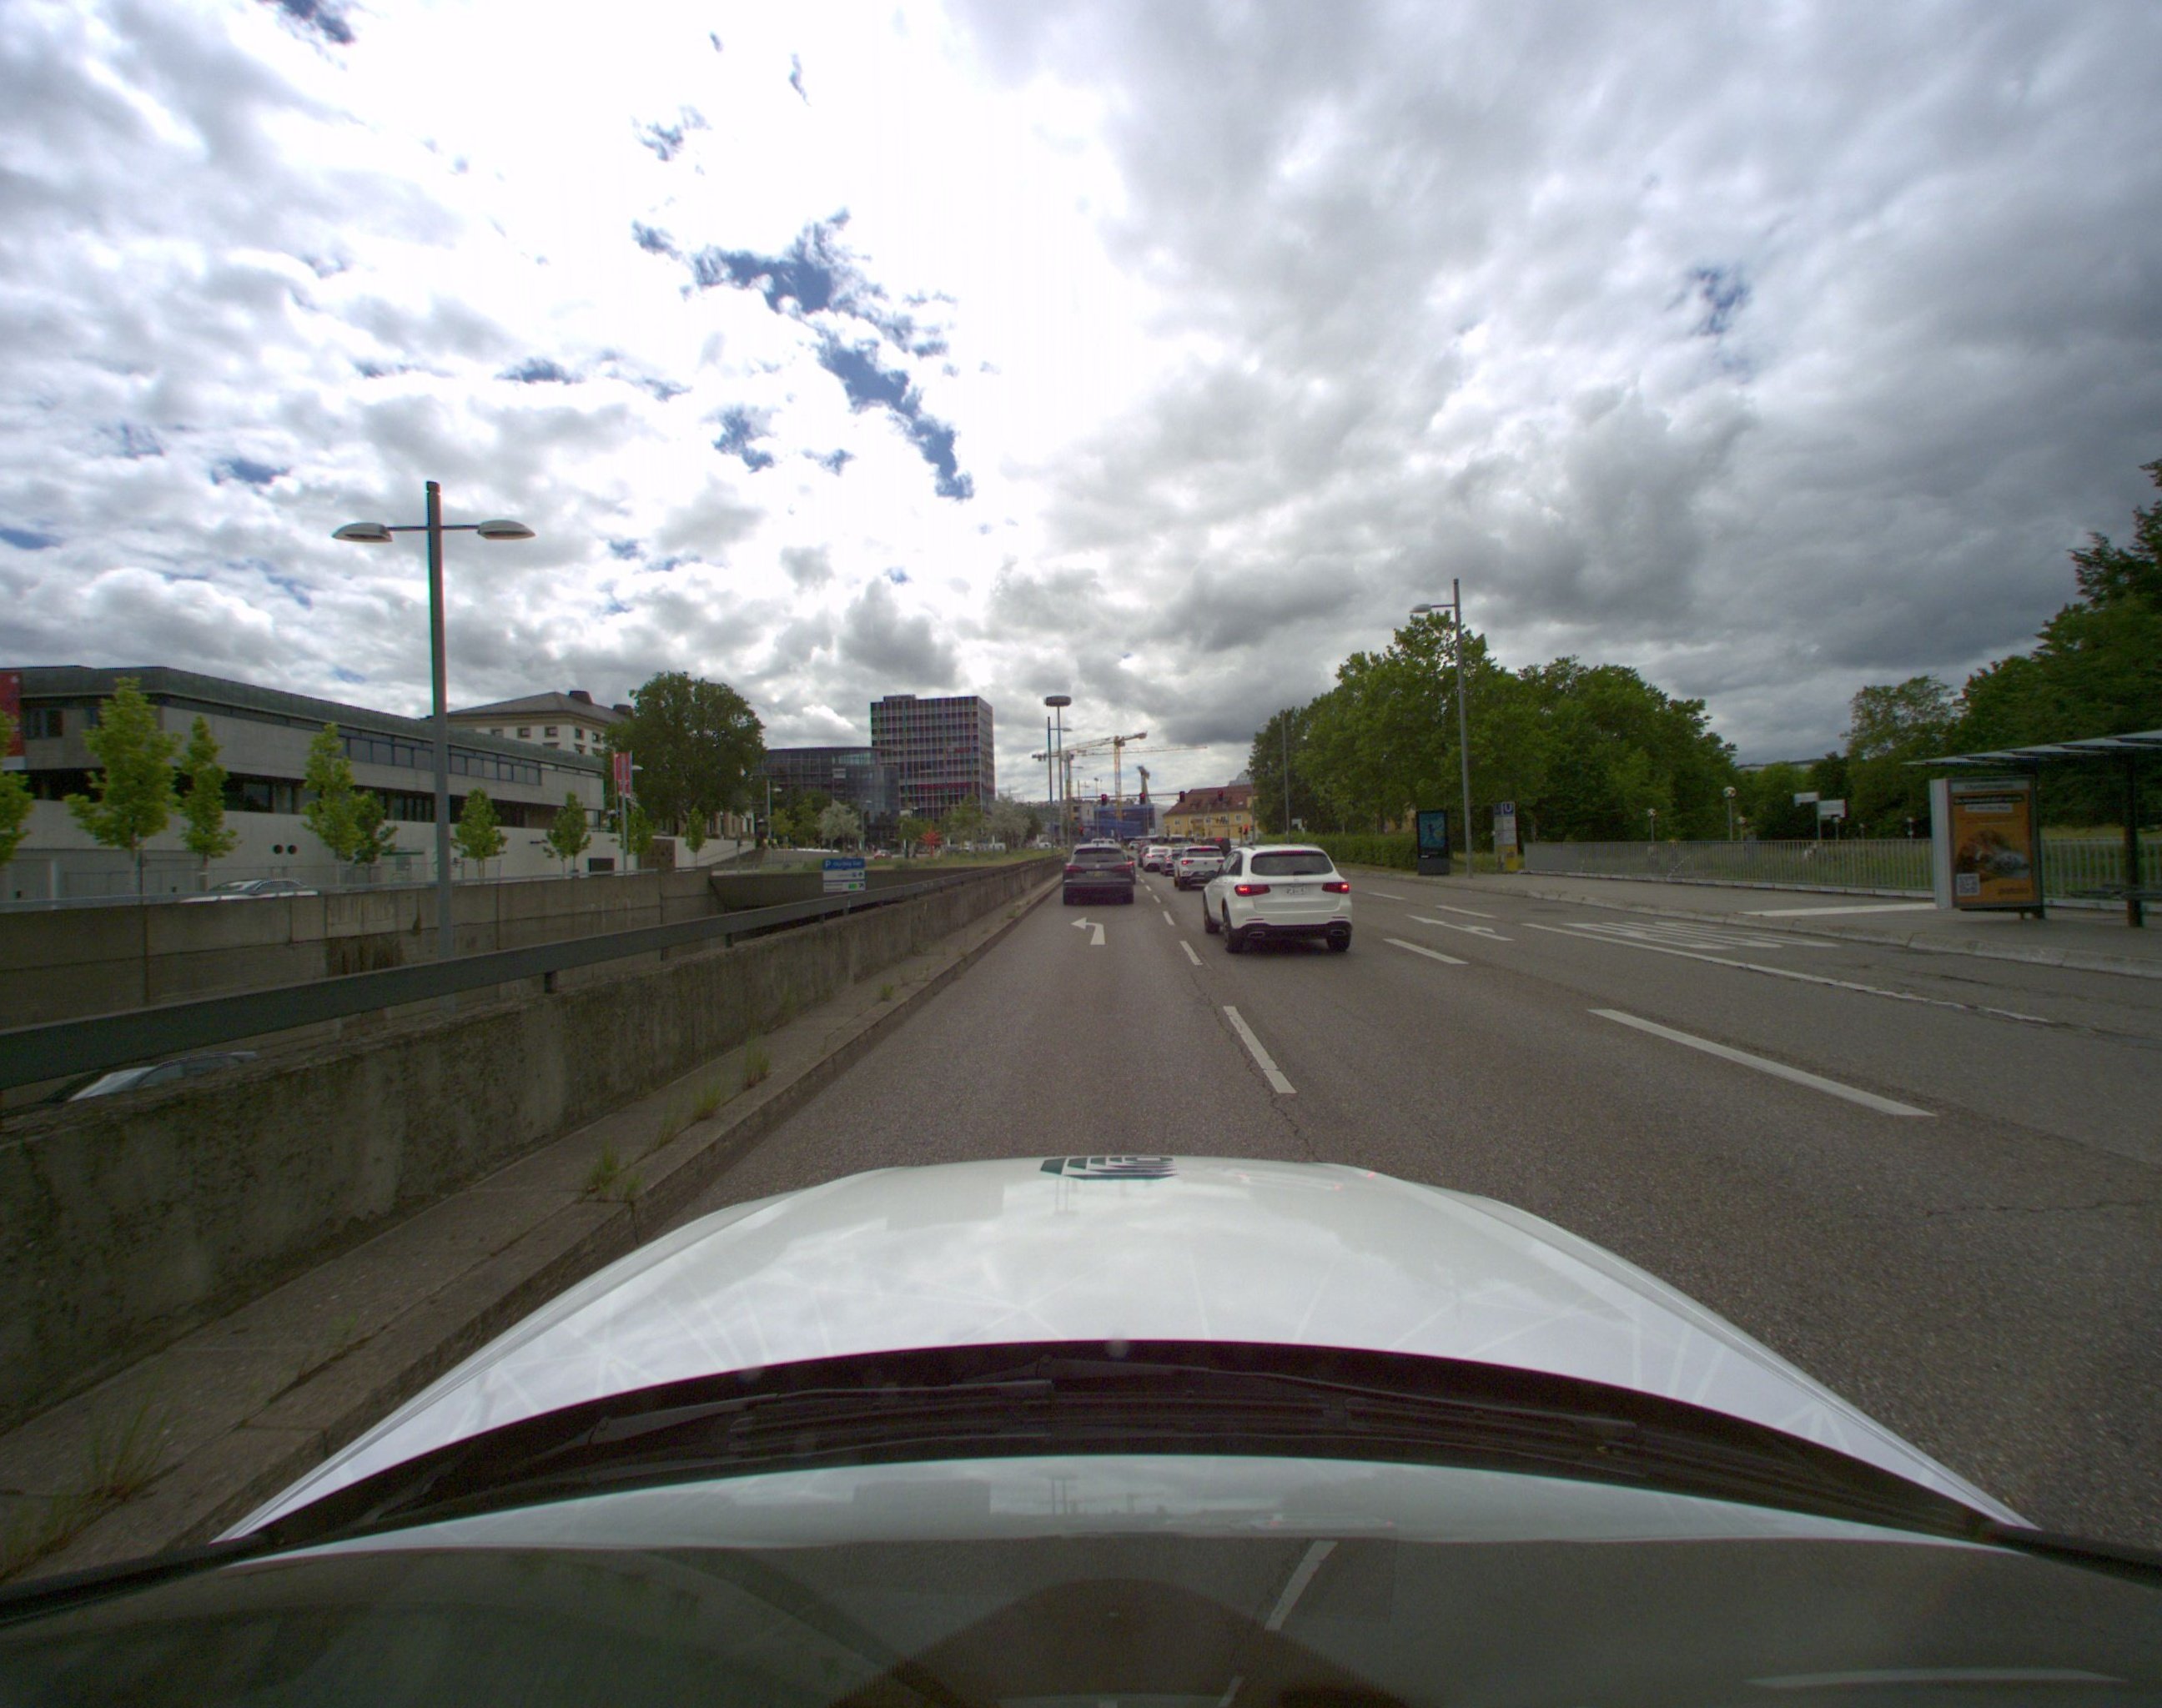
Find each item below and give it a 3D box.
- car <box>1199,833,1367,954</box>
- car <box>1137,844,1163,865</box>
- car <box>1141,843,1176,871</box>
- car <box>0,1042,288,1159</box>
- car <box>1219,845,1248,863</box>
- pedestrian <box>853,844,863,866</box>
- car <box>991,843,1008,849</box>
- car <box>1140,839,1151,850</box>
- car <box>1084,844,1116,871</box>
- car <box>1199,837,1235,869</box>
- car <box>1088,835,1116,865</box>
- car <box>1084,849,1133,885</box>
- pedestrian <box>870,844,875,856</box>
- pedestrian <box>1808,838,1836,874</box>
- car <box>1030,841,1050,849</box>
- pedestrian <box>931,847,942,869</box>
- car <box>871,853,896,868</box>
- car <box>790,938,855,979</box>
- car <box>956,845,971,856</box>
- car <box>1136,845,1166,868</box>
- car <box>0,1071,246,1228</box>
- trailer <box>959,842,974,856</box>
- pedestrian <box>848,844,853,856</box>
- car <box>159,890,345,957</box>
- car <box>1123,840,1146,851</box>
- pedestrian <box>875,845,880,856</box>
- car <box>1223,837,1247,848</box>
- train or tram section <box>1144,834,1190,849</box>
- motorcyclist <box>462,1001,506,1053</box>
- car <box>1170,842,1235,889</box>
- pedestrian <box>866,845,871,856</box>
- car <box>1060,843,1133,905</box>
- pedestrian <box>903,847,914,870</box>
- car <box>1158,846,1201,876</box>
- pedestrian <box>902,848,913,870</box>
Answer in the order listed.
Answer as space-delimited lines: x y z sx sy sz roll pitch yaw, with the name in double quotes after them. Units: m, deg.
3.158 0.552 13.691 1.918 1.653 4.493 -1 0 3 "car"
5.389 0.043 63.937 1.918 1.529 4.051 -1 0 3 "car"
4.613 0.162 48.836 1.918 1.529 4.493 -1 0 3 "car"
-19.325 4.977 16.893 1.799 1.328 4.005 -3 -3 1 "car"
12.228 0.001 65.511 1.751 1.447 3.634 0 0 1 "car"
-21.821 0.079 79.808 0.729 2.012 0.628 -2 5 -6 "pedestrian"
-20.334 -2.007 203.769 3.950 1.568 1.848 0 -1 27 "car"
10.387 -1.554 131.200 1.612 1.627 4.003 0 -1 3 "car"
1.185 0.185 50.912 1.944 1.599 3.933 0 1 2 "car"
8.830 -0.080 53.151 1.902 2.013 4.015 0 0 3 "car"
1.524 -0.301 58.490 1.944 2.018 3.933 0 1 2 "car"
1.144 0.494 34.109 1.944 1.384 3.933 0 1 2 "car"
-37.435 -0.699 146.533 0.740 2.013 0.788 -3 2 -18 "pedestrian"
33.629 0.104 36.958 0.651 1.601 0.686 0 -1 12 "pedestrian"
-8.642 -1.953 171.601 4.060 1.610 1.841 0 -1 37 "car"
-13.383 0.391 75.353 0.857 2.013 0.629 -2 1 1 "pedestrian"
-27.429 0.906 113.287 2.167 1.854 4.736 -2 1 0 "car"
-15.348 6.190 48.722 1.987 1.639 5.249 -7 -2 0 "car"
-23.068 -0.660 159.924 1.985 2.013 4.696 -2 2 3 "car"
4.897 0.154 57.331 1.918 1.529 4.051 -1 0 3 "car"
-16.433 4.747 13.063 1.769 1.489 4.146 -3 -3 1 "car"
-23.111 -1.035 165.024 2.029 2.604 5.511 0 1 2 "trailer"
-40.708 -0.733 144.035 0.740 2.013 0.788 -3 2 -18 "pedestrian"
-27.643 2.259 27.382 1.986 1.763 4.001 -5 0 2 "car"
10.113 -1.534 153.236 3.949 2.014 2.012 -1 -1 41 "car"
-37.068 -0.667 148.458 0.740 2.013 1.108 -3 2 -18 "pedestrian"
31.051 -2.314 164.508 4.402 2.014 2.013 0 -1 36 "car"
18.757 -2.739 178.145 10.295 3.009 2.613 0 -1 39 "train or tram section"
-17.574 5.081 23.990 0.667 1.352 0.718 -6 -3 1 "motorcyclist"
4.349 0.402 29.699 1.918 1.550 4.493 -1 0 3 "car"
-38.203 -0.682 146.497 0.740 2.013 1.108 -3 2 -18 "pedestrian"
0.474 0.508 23.603 1.944 1.651 4.002 0 1 2 "car"
-15.962 0.417 75.368 0.794 2.013 0.830 -3 1 -26 "pedestrian"
5.015 0.330 42.095 1.918 1.432 4.493 -1 0 3 "car"
-16.208 0.433 76.193 0.794 2.013 0.830 -3 1 -26 "pedestrian"
